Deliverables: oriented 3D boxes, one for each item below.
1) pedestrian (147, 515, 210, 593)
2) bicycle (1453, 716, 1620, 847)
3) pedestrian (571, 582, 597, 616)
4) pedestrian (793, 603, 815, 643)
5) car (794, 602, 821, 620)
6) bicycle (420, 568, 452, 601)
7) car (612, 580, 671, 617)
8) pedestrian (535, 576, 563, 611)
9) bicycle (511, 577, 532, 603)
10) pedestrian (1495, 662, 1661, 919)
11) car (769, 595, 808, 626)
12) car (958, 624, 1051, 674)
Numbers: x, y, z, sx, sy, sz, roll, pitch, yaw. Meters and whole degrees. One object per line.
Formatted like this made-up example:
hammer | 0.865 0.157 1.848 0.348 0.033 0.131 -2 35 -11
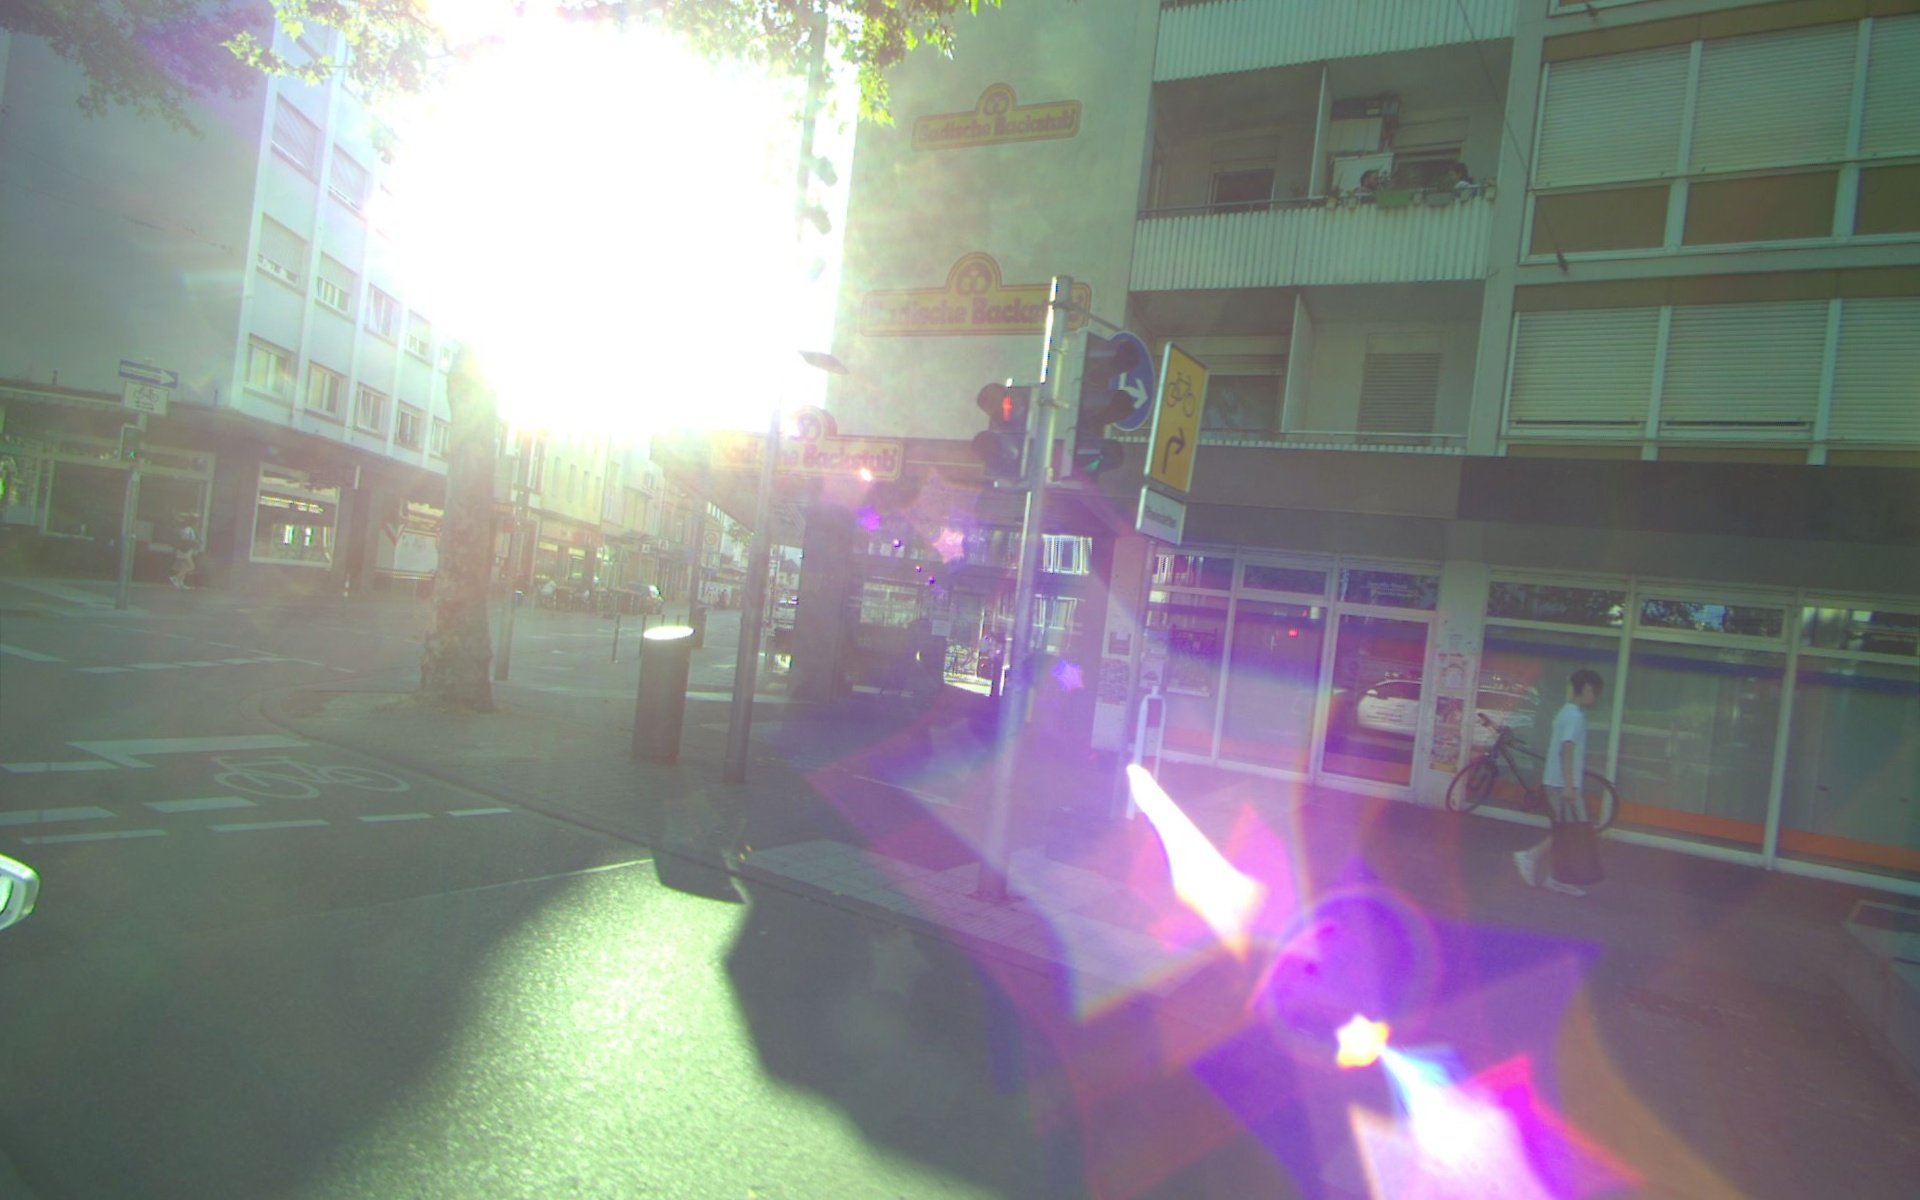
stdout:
pedestrian | -17.222 -1.006 22.185 0.704 1.566 0.604 8 -1 -5
bicycle | 6.218 1.937 10.913 1.437 1.107 0.438 7 2 29
pedestrian | -15.086 -0.051 40.386 0.683 1.257 0.597 8 -1 -9
pedestrian | -6.592 0.965 42.459 0.654 1.593 0.694 8 -1 -6
car | -13.807 1.033 91.015 1.809 1.238 4.002 9 -2 -2
bicycle | -17.839 -0.514 34.287 0.289 1.053 1.717 5 -1 -6
car | -16.086 -0.083 51.010 1.810 1.513 3.997 9 -1 -5
pedestrian | -16.441 -0.270 40.259 0.720 1.257 0.552 7 -2 29
bicycle | -18.791 -0.434 43.141 0.289 1.054 1.715 5 2 -6
pedestrian | 4.697 1.398 7.728 0.779 1.735 0.837 8 2 24
car | -11.476 0.722 67.511 1.809 1.680 4.002 8 -2 -2
car | 1.877 2.086 42.873 3.664 1.607 1.659 7 -1 -3
